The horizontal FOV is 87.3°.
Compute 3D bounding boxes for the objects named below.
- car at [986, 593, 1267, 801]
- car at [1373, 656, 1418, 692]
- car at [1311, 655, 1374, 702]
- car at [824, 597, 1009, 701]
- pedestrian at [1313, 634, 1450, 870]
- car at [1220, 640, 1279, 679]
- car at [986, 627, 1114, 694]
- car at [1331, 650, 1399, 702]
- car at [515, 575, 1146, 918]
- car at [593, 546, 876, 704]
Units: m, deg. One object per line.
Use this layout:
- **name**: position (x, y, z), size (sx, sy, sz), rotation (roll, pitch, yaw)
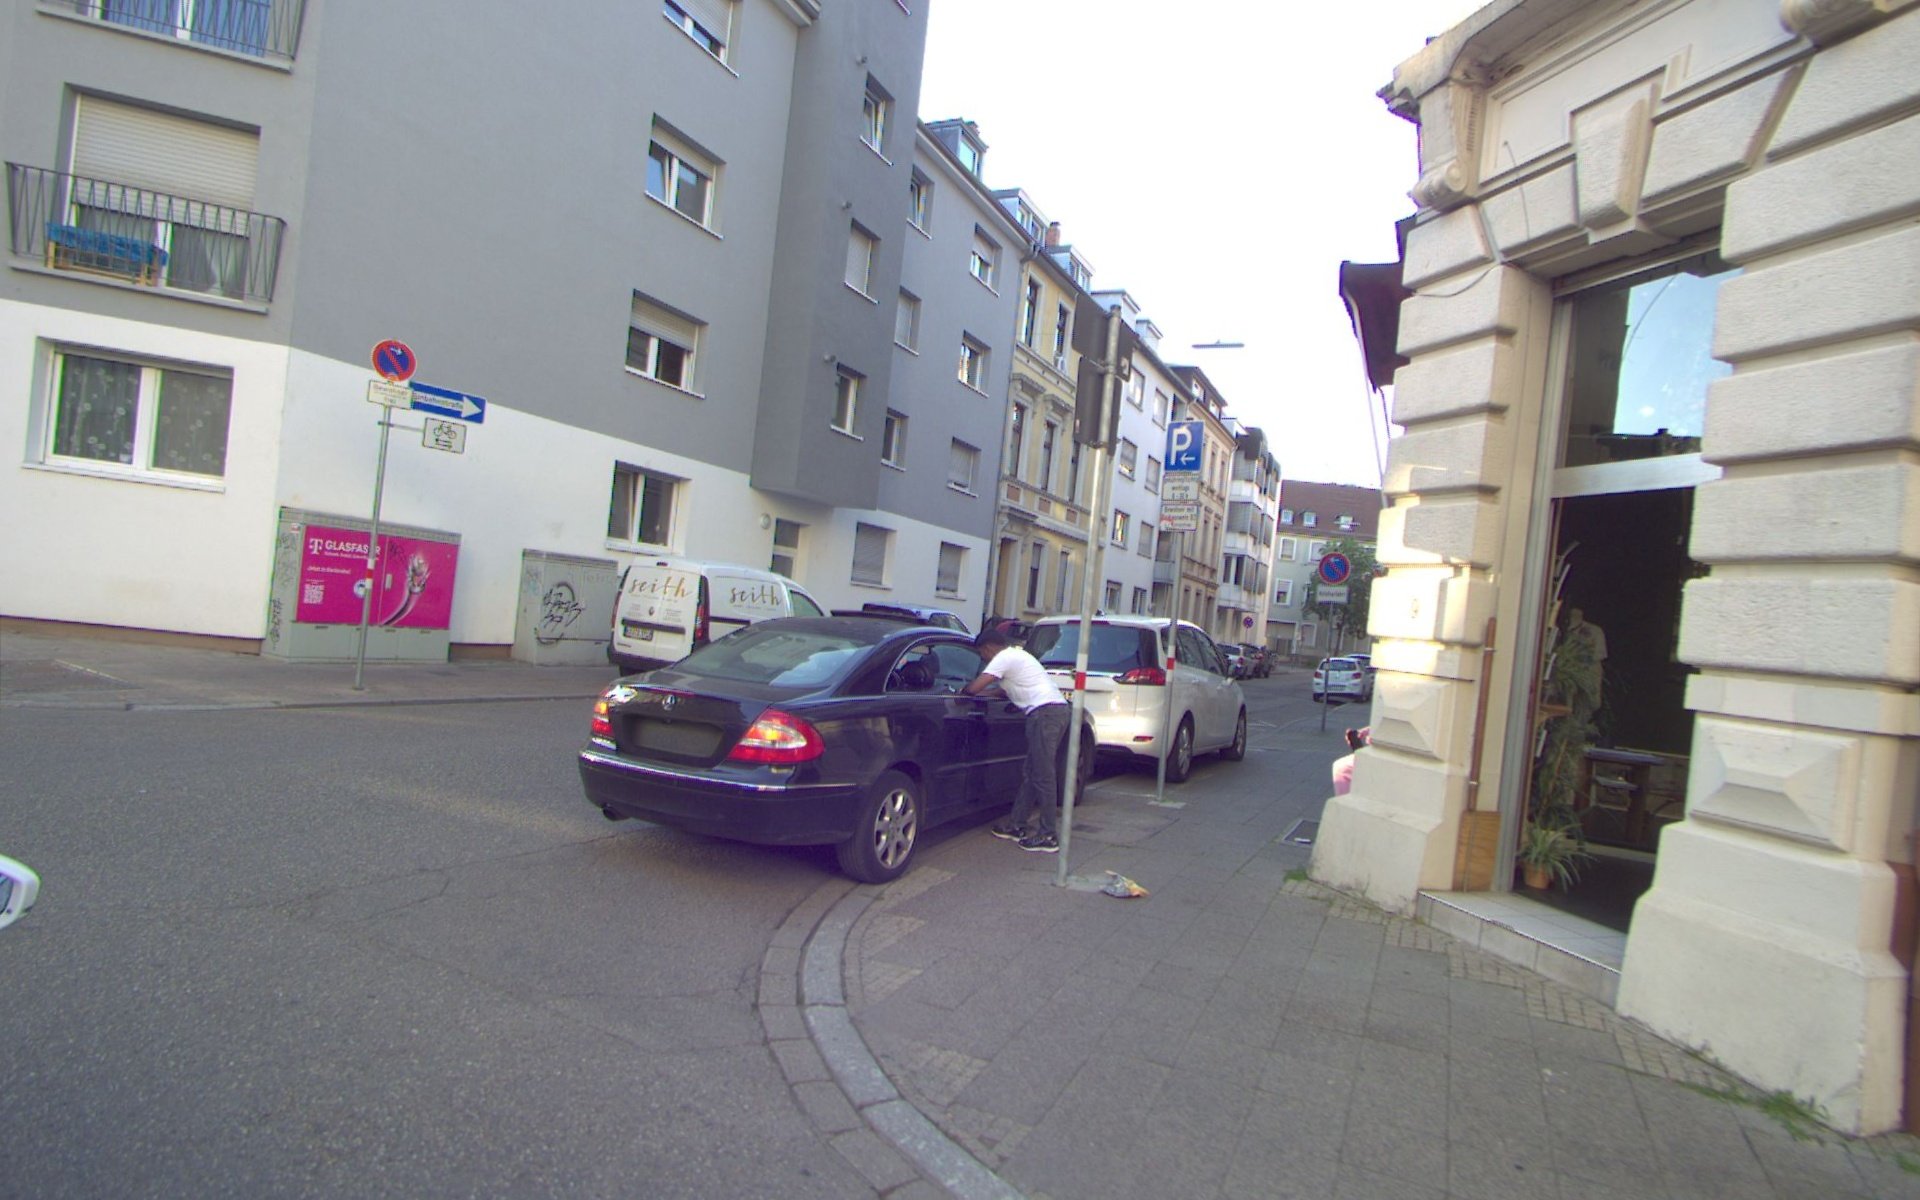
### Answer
- **car**: position (2.138, 1.025, 11.601), size (1.791, 1.744, 4.456), rotation (6, -1, 27)
- **car**: position (25.510, 4.333, 58.872), size (1.965, 1.783, 3.995), rotation (6, -1, 28)
- **car**: position (13.106, 2.651, 34.369), size (1.640, 1.475, 3.755), rotation (0, -4, 27)
- **car**: position (-0.676, 0.928, 19.256), size (1.737, 1.583, 4.363), rotation (6, 0, 23)
- **pedestrian**: position (2.976, 1.034, 7.081), size (0.704, 1.489, 0.580), rotation (6, 0, 27)
- **car**: position (14.730, 3.049, 51.026), size (1.965, 1.682, 3.973), rotation (6, -1, 28)
- **car**: position (2.328, 1.553, 24.914), size (1.659, 1.347, 4.129), rotation (6, -2, 27)
- **car**: position (16.170, 3.033, 40.046), size (1.965, 1.753, 4.055), rotation (6, -1, 28)
- **car**: position (-0.419, 0.816, 7.108), size (1.858, 1.425, 4.721), rotation (6, -1, 30)
- **car**: position (-3.064, 0.419, 14.633), size (1.607, 1.836, 4.181), rotation (6, 0, 26)
